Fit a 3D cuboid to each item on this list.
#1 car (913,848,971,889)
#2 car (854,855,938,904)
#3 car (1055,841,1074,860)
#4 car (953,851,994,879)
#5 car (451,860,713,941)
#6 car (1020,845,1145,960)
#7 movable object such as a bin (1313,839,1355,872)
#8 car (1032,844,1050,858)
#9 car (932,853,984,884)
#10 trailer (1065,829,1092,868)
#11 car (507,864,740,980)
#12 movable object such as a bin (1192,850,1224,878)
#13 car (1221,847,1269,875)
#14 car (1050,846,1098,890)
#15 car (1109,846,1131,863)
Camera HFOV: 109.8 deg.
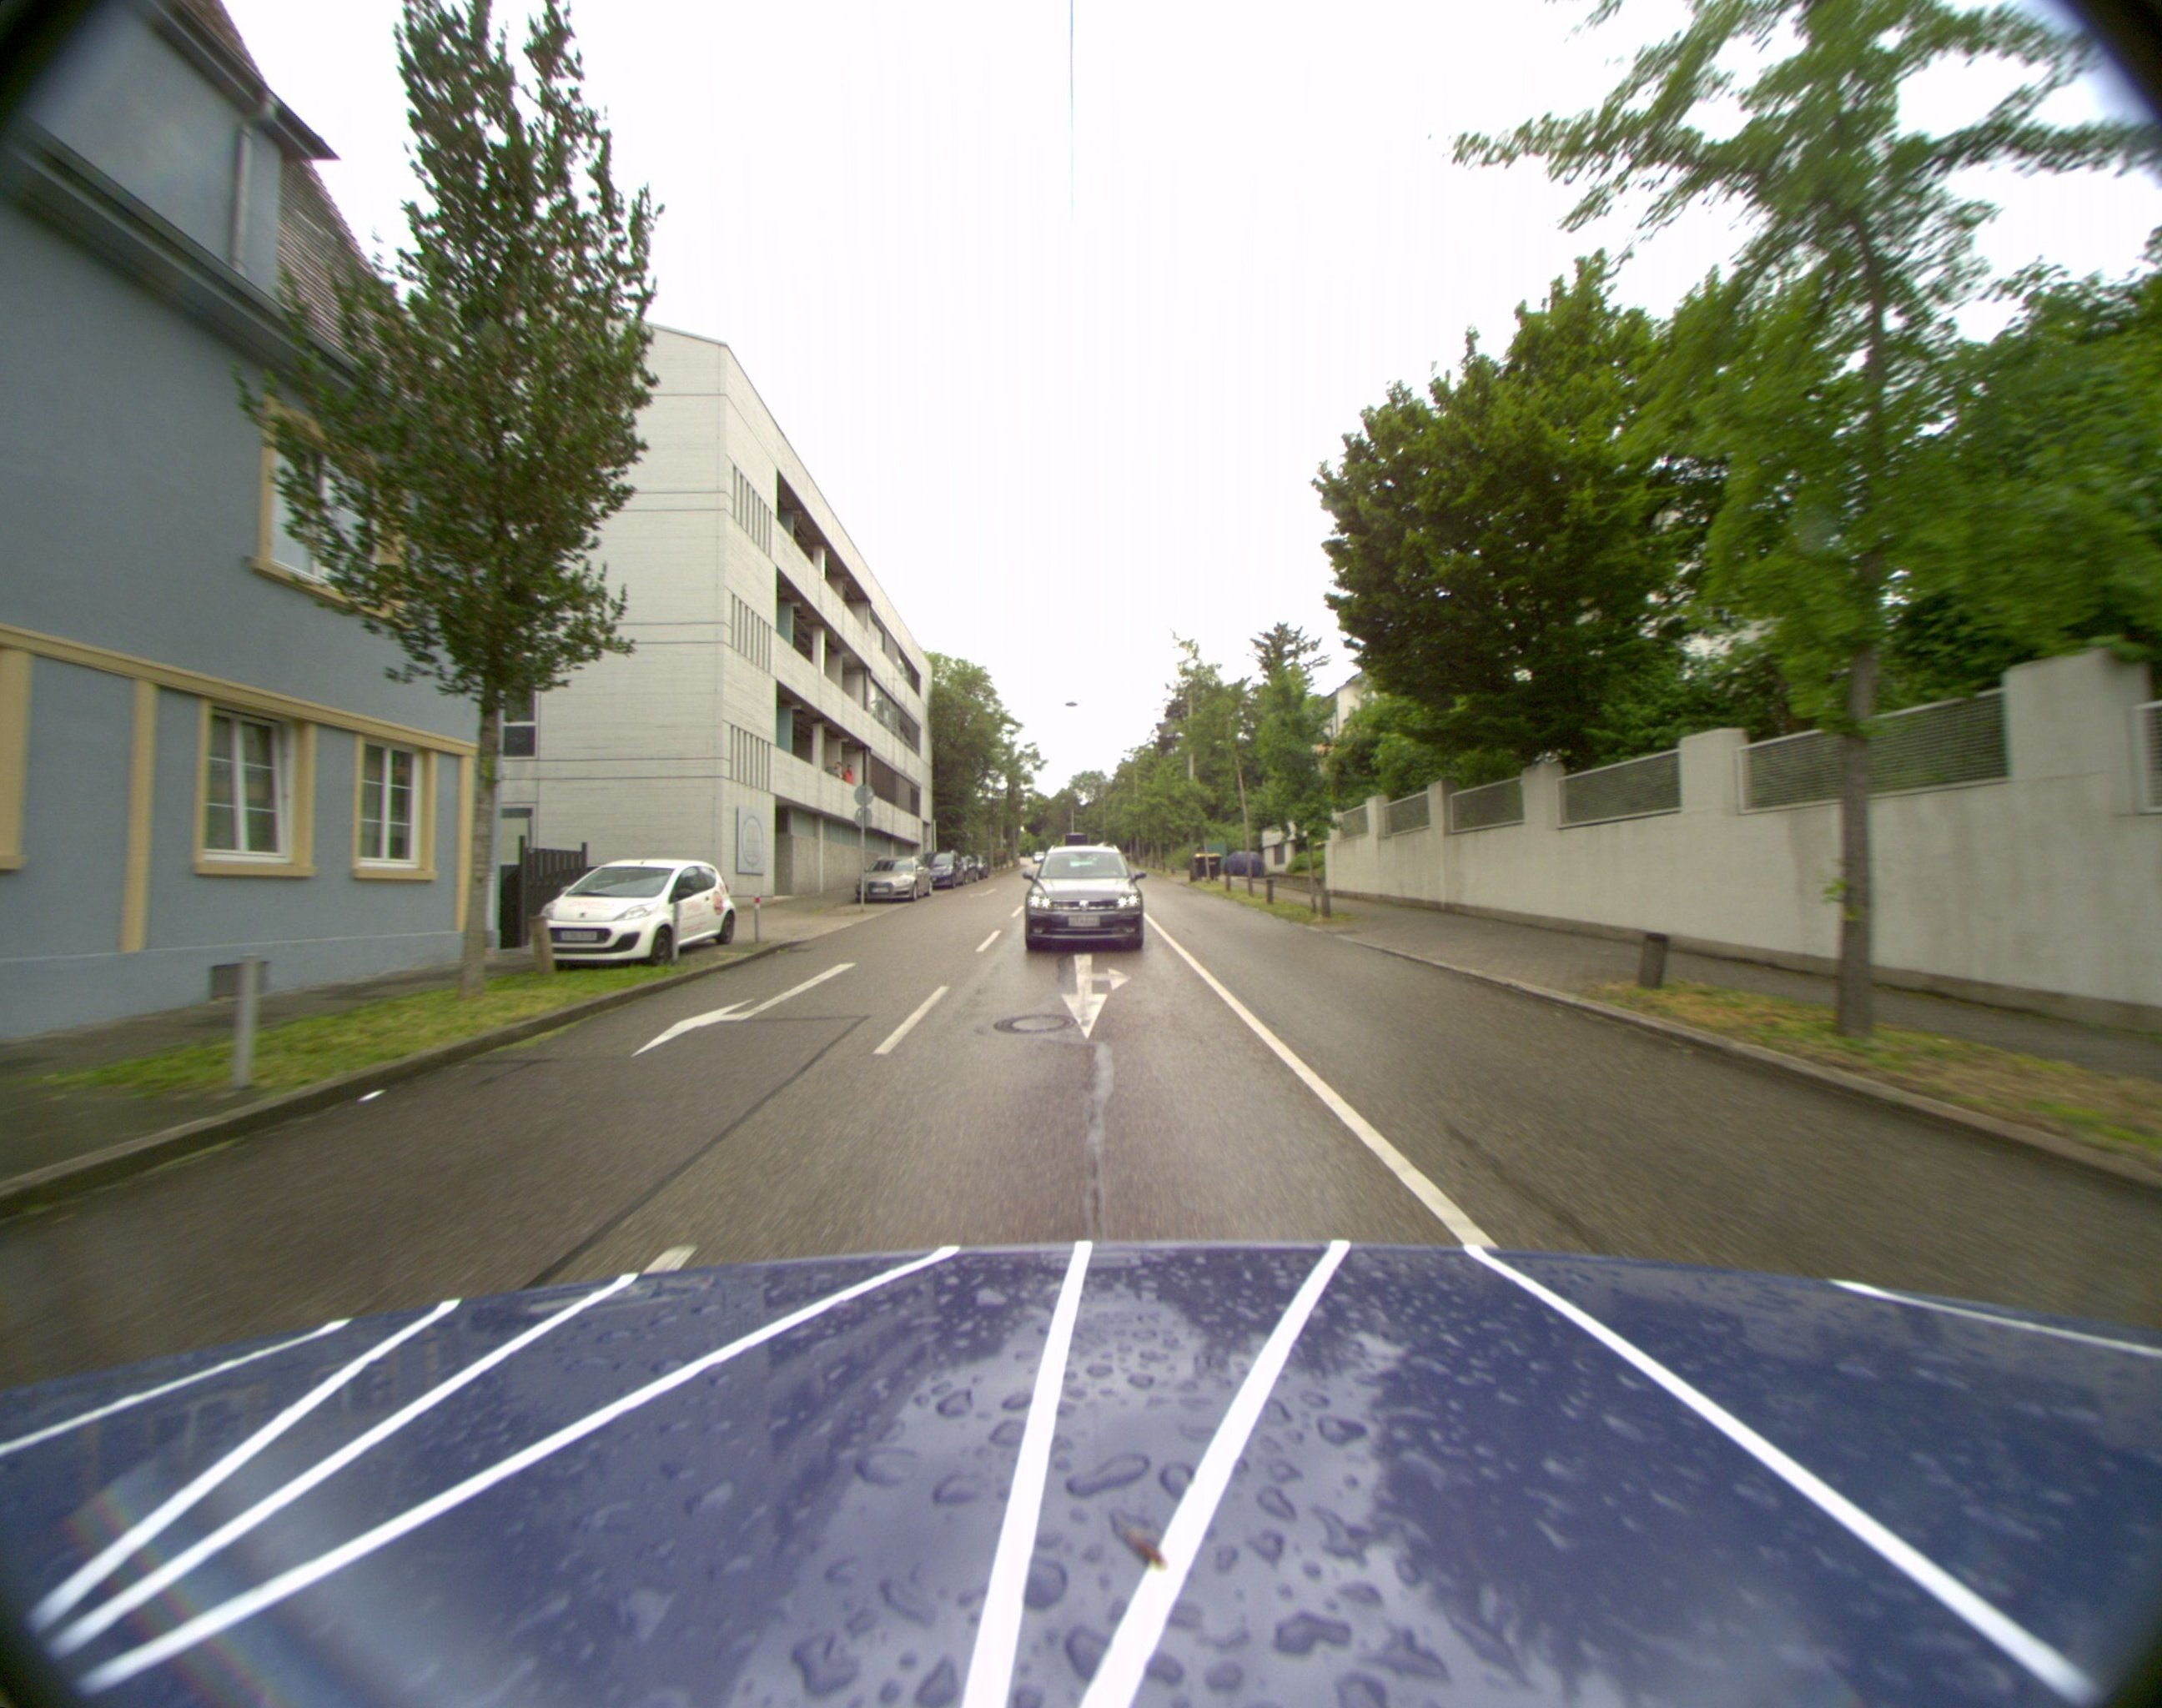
[{"bbox_3d":[-6.034,0.591,33.464,1.749,1.665,4.343,-1,1,0],"label":"car"},{"bbox_3d":[-6.126,0.787,25.756,1.819,1.451,4.740,0,1,-2],"label":"car"},{"bbox_3d":[-1.850,-0.381,85.259,1.999,2.002,3.998,-1,2,-2],"label":"car"},{"bbox_3d":[-6.177,0.600,44.041,1.843,1.436,4.154,1,1,-1],"label":"car"},{"bbox_3d":[-10.620,0.935,16.566,4.370,1.399,1.806,-3,1,-16],"label":"car"},{"bbox_3d":[0.034,0.683,13.112,1.786,1.632,4.199,-1,1,0],"label":"car"},{"bbox_3d":[10.472,0.069,31.503,1.266,1.307,1.162,-1,-2,-8],"label":"movable object such as a bin"},{"bbox_3d":[-5.711,-0.451,108.107,2.000,2.002,3.995,-1,2,-11],"label":"car"},{"bbox_3d":[-6.094,0.687,38.103,1.710,1.436,4.097,-1,1,3],"label":"car"},{"bbox_3d":[-0.179,-0.433,54.327,1.771,2.611,3.031,-2,2,-1],"label":"trailer"},{"bbox_3d":[-6.634,0.900,11.468,1.591,1.403,3.455,0,1,-4],"label":"car"},{"bbox_3d":[6.208,0.486,37.221,1.227,1.343,1.122,-1,1,-8],"label":"movable object such as a bin"},{"bbox_3d":[9.748,0.371,45.547,1.856,1.483,3.864,4,0,-2],"label":"car"},{"bbox_3d":[-0.259,0.524,31.054,1.786,1.632,4.199,-1,1,0],"label":"car"},{"bbox_3d":[3.410,0.015,67.090,1.723,1.377,4.284,-2,1,0],"label":"car"}]
